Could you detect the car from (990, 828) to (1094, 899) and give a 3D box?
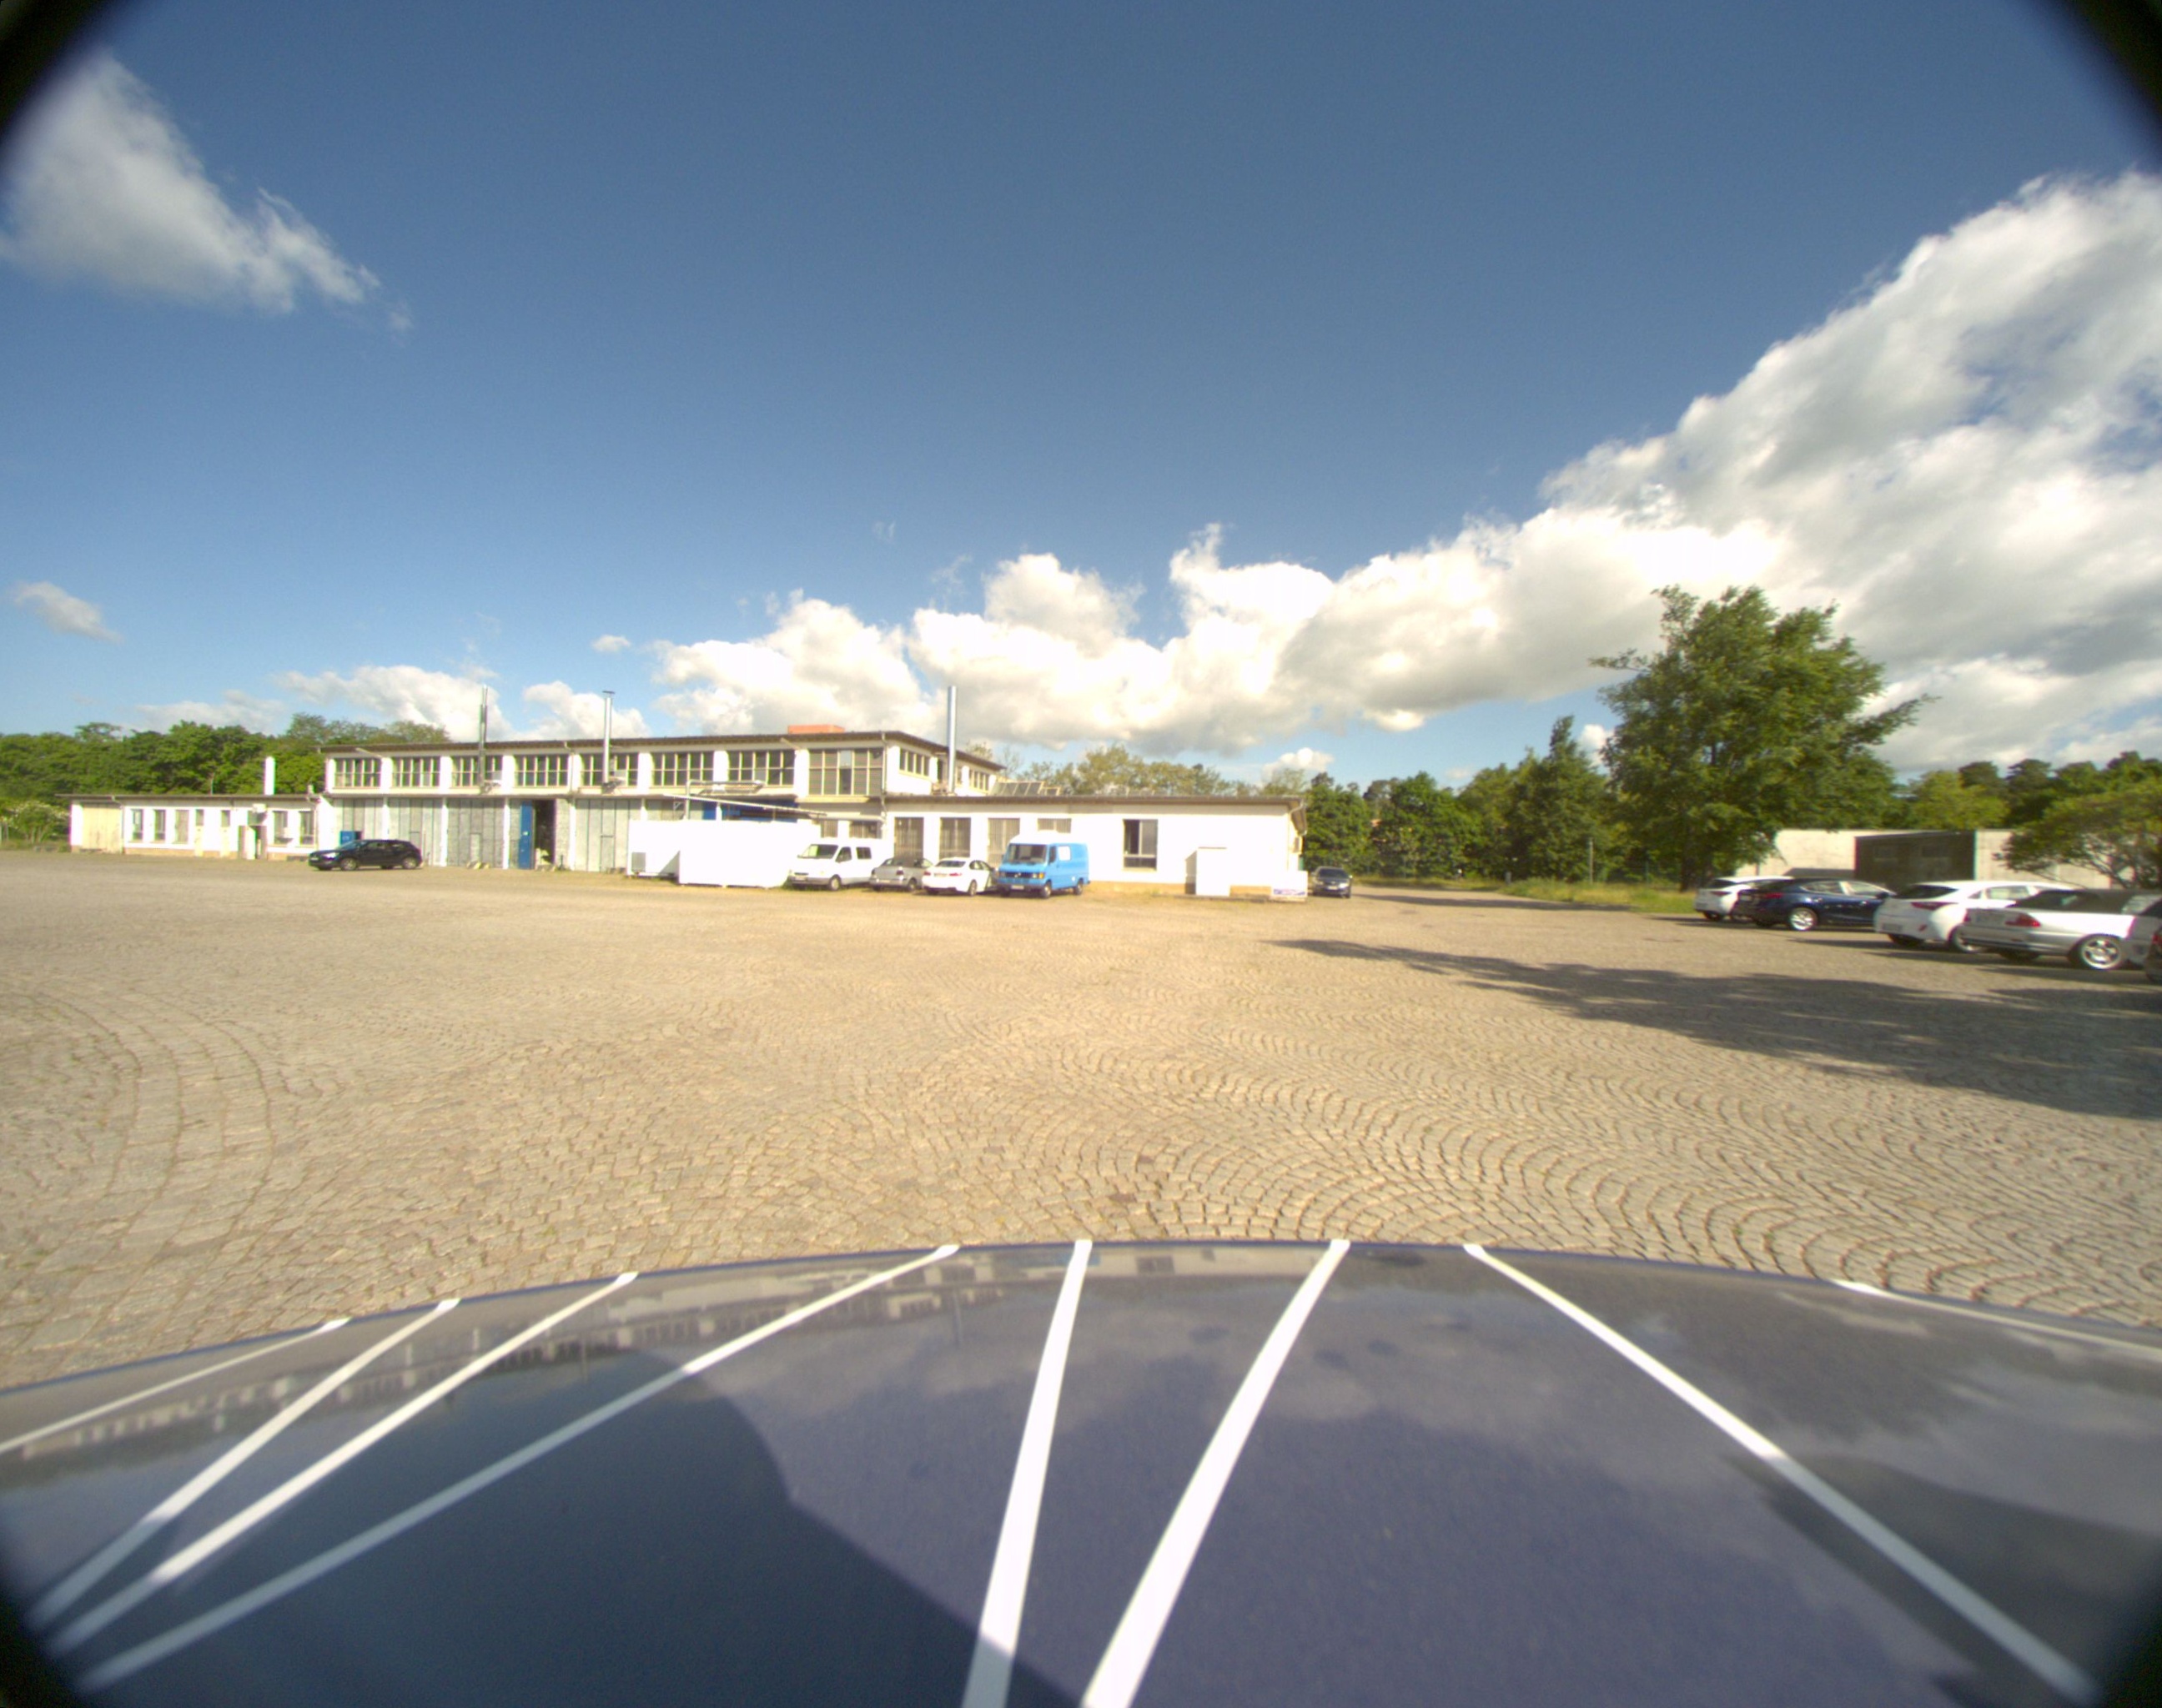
[{"bbox_3d":[-1.371,0.346,29.489,2.085,2.468,5.247,1,0,20],"label":"car"}]

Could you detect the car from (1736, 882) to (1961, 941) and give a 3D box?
[{"bbox_3d":[20.489,1.486,20.487,3.917,1.409,1.695,0,-1,18],"label":"car"}]

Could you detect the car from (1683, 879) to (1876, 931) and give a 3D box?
[{"bbox_3d":[21.062,1.502,23.110,3.917,1.427,1.798,0,-1,18],"label":"car"}]

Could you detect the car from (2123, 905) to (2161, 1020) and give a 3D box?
[{"bbox_3d":[15.629,1.353,8.419,4.724,1.414,1.759,0,-1,16],"label":"car"}]

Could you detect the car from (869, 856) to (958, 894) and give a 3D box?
[{"bbox_3d":[-6.709,0.818,30.837,1.688,1.390,3.838,2,0,20],"label":"car"}]

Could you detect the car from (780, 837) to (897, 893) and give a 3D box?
[{"bbox_3d":[-9.772,0.397,31.087,2.005,2.069,4.812,1,1,20],"label":"car"}]

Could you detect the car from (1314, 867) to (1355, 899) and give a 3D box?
[{"bbox_3d":[12.498,1.395,37.569,1.765,1.427,3.998,2,0,18],"label":"car"}]

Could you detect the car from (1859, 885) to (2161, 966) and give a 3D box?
[{"bbox_3d":[18.968,1.393,15.525,3.917,1.438,1.758,0,-1,18],"label":"car"}]

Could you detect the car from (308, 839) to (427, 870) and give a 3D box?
[{"bbox_3d":[-36.181,0.041,38.655,1.737,1.461,4.081,1,0,16],"label":"car"}]

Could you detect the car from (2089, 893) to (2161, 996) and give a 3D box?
[{"bbox_3d":[17.765,1.337,10.618,4.141,1.451,1.694,0,-1,22],"label":"car"}]

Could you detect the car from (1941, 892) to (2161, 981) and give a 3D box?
[{"bbox_3d":[18.061,1.400,13.116,3.917,1.364,1.730,0,-1,18],"label":"car"}]

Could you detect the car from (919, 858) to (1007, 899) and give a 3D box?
[{"bbox_3d":[-4.429,0.879,29.129,1.734,1.397,3.744,1,1,20],"label":"car"}]
